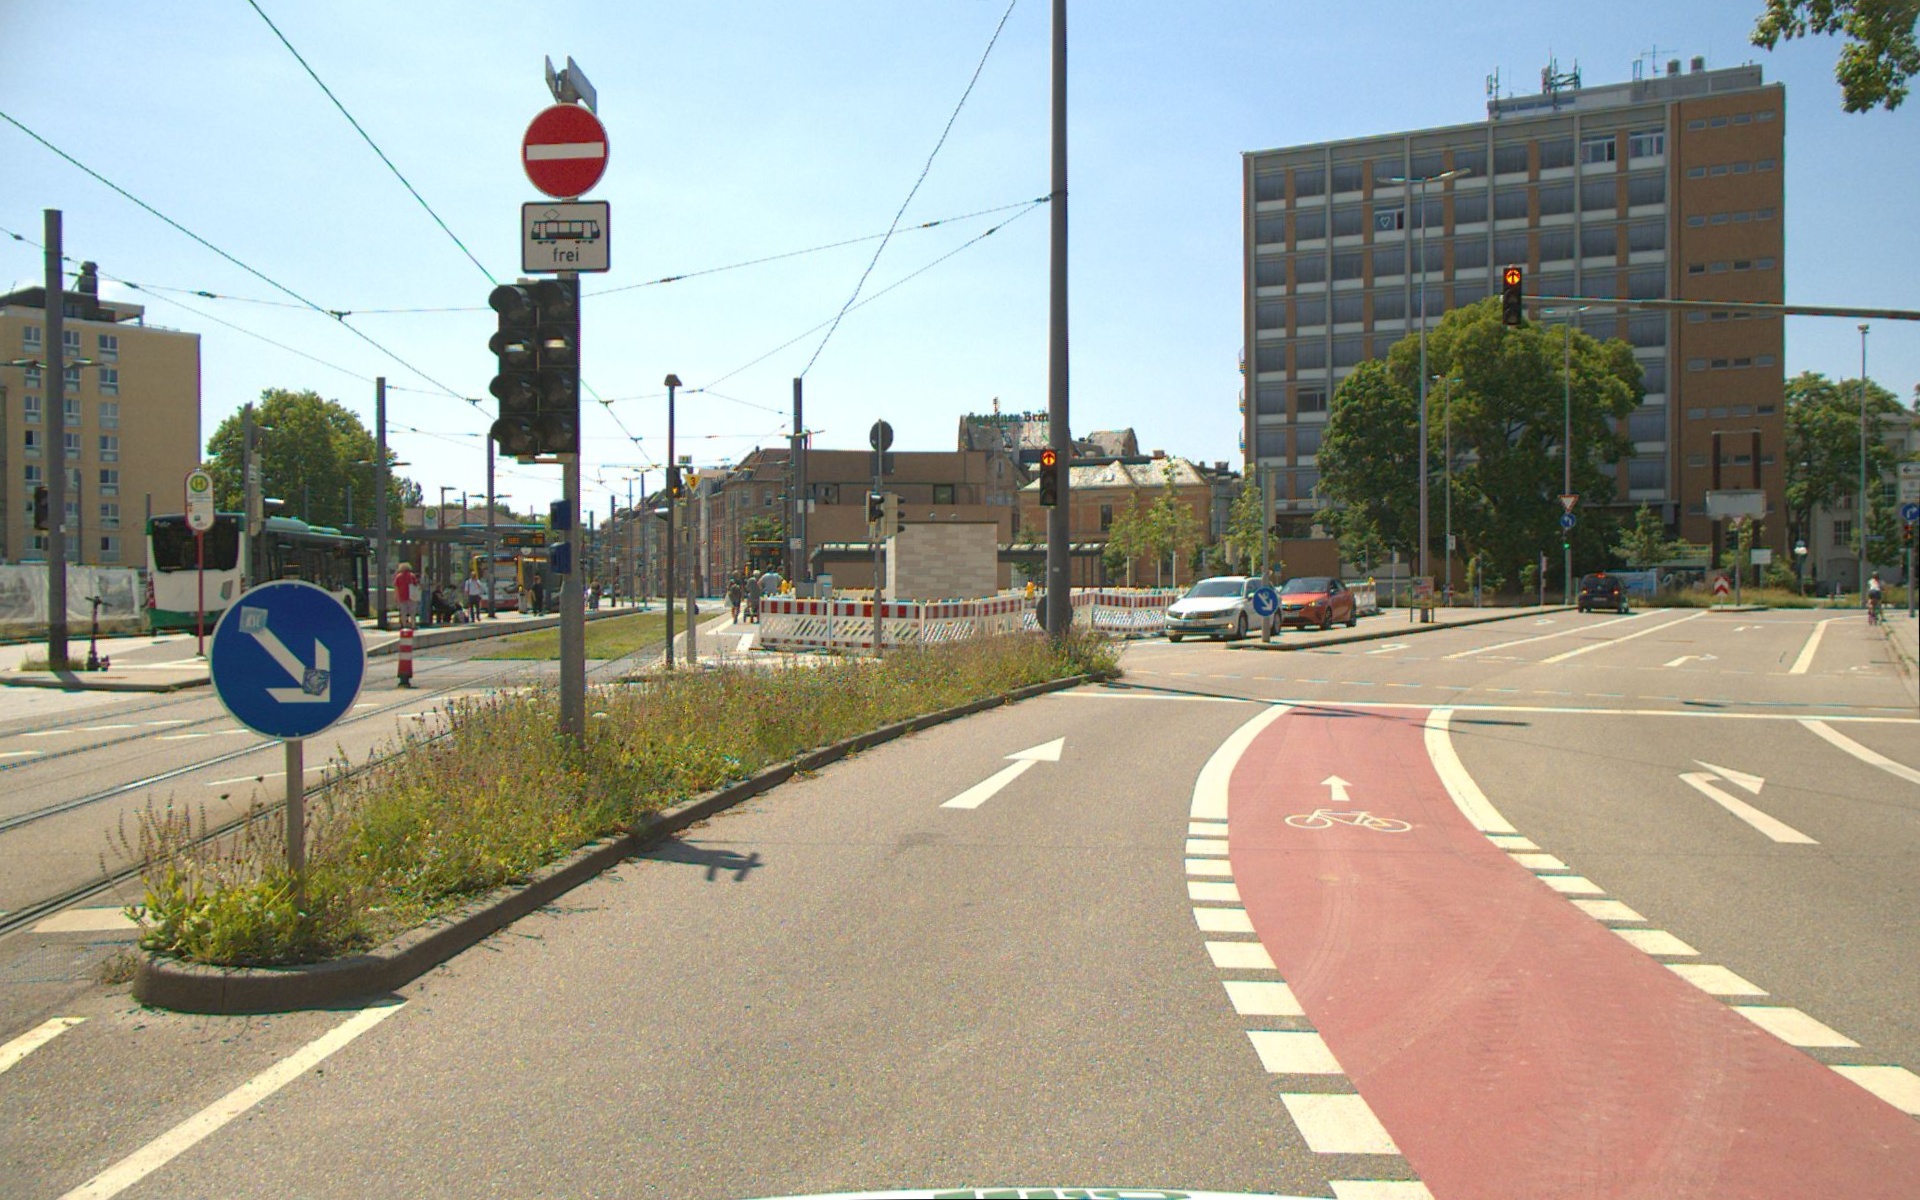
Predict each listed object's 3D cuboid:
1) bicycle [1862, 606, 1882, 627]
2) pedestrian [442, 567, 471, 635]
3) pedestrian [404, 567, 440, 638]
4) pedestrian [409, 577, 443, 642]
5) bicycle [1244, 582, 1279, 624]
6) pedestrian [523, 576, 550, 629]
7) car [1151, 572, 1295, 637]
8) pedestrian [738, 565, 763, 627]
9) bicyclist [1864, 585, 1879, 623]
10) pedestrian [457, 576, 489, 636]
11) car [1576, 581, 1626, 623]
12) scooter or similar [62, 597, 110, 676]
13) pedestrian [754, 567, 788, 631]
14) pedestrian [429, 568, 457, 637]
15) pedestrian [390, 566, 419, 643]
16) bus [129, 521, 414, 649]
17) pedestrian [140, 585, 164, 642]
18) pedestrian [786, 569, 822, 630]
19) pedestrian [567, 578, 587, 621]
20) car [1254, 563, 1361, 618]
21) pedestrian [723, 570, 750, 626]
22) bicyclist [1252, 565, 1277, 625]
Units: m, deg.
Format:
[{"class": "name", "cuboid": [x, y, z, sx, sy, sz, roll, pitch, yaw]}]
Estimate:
[{"class": "bicycle", "cuboid": [29.794, 0.533, 54.036, 0.369, 0.657, 1.644, 0, 0, 21]}, {"class": "pedestrian", "cuboid": [-16.036, 0.021, 52.680, 0.885, 2.133, 0.827, -1, 0, -18]}, {"class": "pedestrian", "cuboid": [-15.532, 0.057, 47.786, 0.926, 2.025, 1.024, -1, 0, -16]}, {"class": "pedestrian", "cuboid": [-15.813, 0.278, 48.999, 0.897, 1.884, 0.655, -1, 0, -16]}, {"class": "bicycle", "cuboid": [8.831, 0.077, 48.397, 0.390, 1.194, 1.766, 0, 1, 31]}, {"class": "pedestrian", "cuboid": [-17.216, 0.084, 67.276, 0.881, 2.133, 0.831, -1, 0, -2]}, {"class": "car", "cuboid": [6.387, 0.100, 39.764, 1.956, 1.463, 4.698, 0, 0, 29]}, {"class": "pedestrian", "cuboid": [-6.701, -0.108, 52.901, 0.706, 1.957, 1.071, 0, -1, -11]}, {"class": "bicyclist", "cuboid": [29.793, 0.125, 54.047, 0.344, 1.249, 0.564, 0, 0, 22]}, {"class": "pedestrian", "cuboid": [-17.436, 0.198, 59.199, 0.881, 2.133, 0.831, -1, 0, -2]}, {"class": "car", "cuboid": [24.764, 0.050, 63.989, 1.653, 1.553, 3.691, 0, 0, 19]}, {"class": "scooter or similar", "cuboid": [-14.017, 0.568, 26.549, 0.313, 1.227, 1.245, -1, 0, -11]}, {"class": "pedestrian", "cuboid": [-5.665, -0.014, 49.565, 0.718, 1.897, 0.762, -1, -1, 43]}, {"class": "pedestrian", "cuboid": [-16.123, 0.073, 51.597, 0.811, 2.133, 0.638, -1, 0, -18]}, {"class": "pedestrian", "cuboid": [-14.015, 0.109, 41.738, 0.662, 1.943, 0.638, -1, 0, -16]}, {"class": "bus", "cuboid": [-20.213, -0.447, 50.409, 2.952, 3.213, 17.478, 0, 0, -5]}, {"class": "pedestrian", "cuboid": [-24.751, 0.413, 50.659, 0.556, 1.735, 0.396, 0, 0, -14]}, {"class": "pedestrian", "cuboid": [-4.789, -0.027, 50.846, 0.963, 1.864, 0.630, -1, 0, -21]}, {"class": "pedestrian", "cuboid": [-19.140, -0.037, 82.661, 0.813, 2.133, 0.901, -1, 0, -7]}, {"class": "car", "cuboid": [9.702, -0.247, 45.965, 1.699, 1.450, 4.115, 0, 0, 30]}, {"class": "pedestrian", "cuboid": [-6.971, -0.065, 51.635, 0.715, 1.736, 0.740, 0, -1, -18]}, {"class": "bicyclist", "cuboid": [8.908, -0.155, 48.326, 0.557, 1.749, 0.505, 0, 1, 35]}]
